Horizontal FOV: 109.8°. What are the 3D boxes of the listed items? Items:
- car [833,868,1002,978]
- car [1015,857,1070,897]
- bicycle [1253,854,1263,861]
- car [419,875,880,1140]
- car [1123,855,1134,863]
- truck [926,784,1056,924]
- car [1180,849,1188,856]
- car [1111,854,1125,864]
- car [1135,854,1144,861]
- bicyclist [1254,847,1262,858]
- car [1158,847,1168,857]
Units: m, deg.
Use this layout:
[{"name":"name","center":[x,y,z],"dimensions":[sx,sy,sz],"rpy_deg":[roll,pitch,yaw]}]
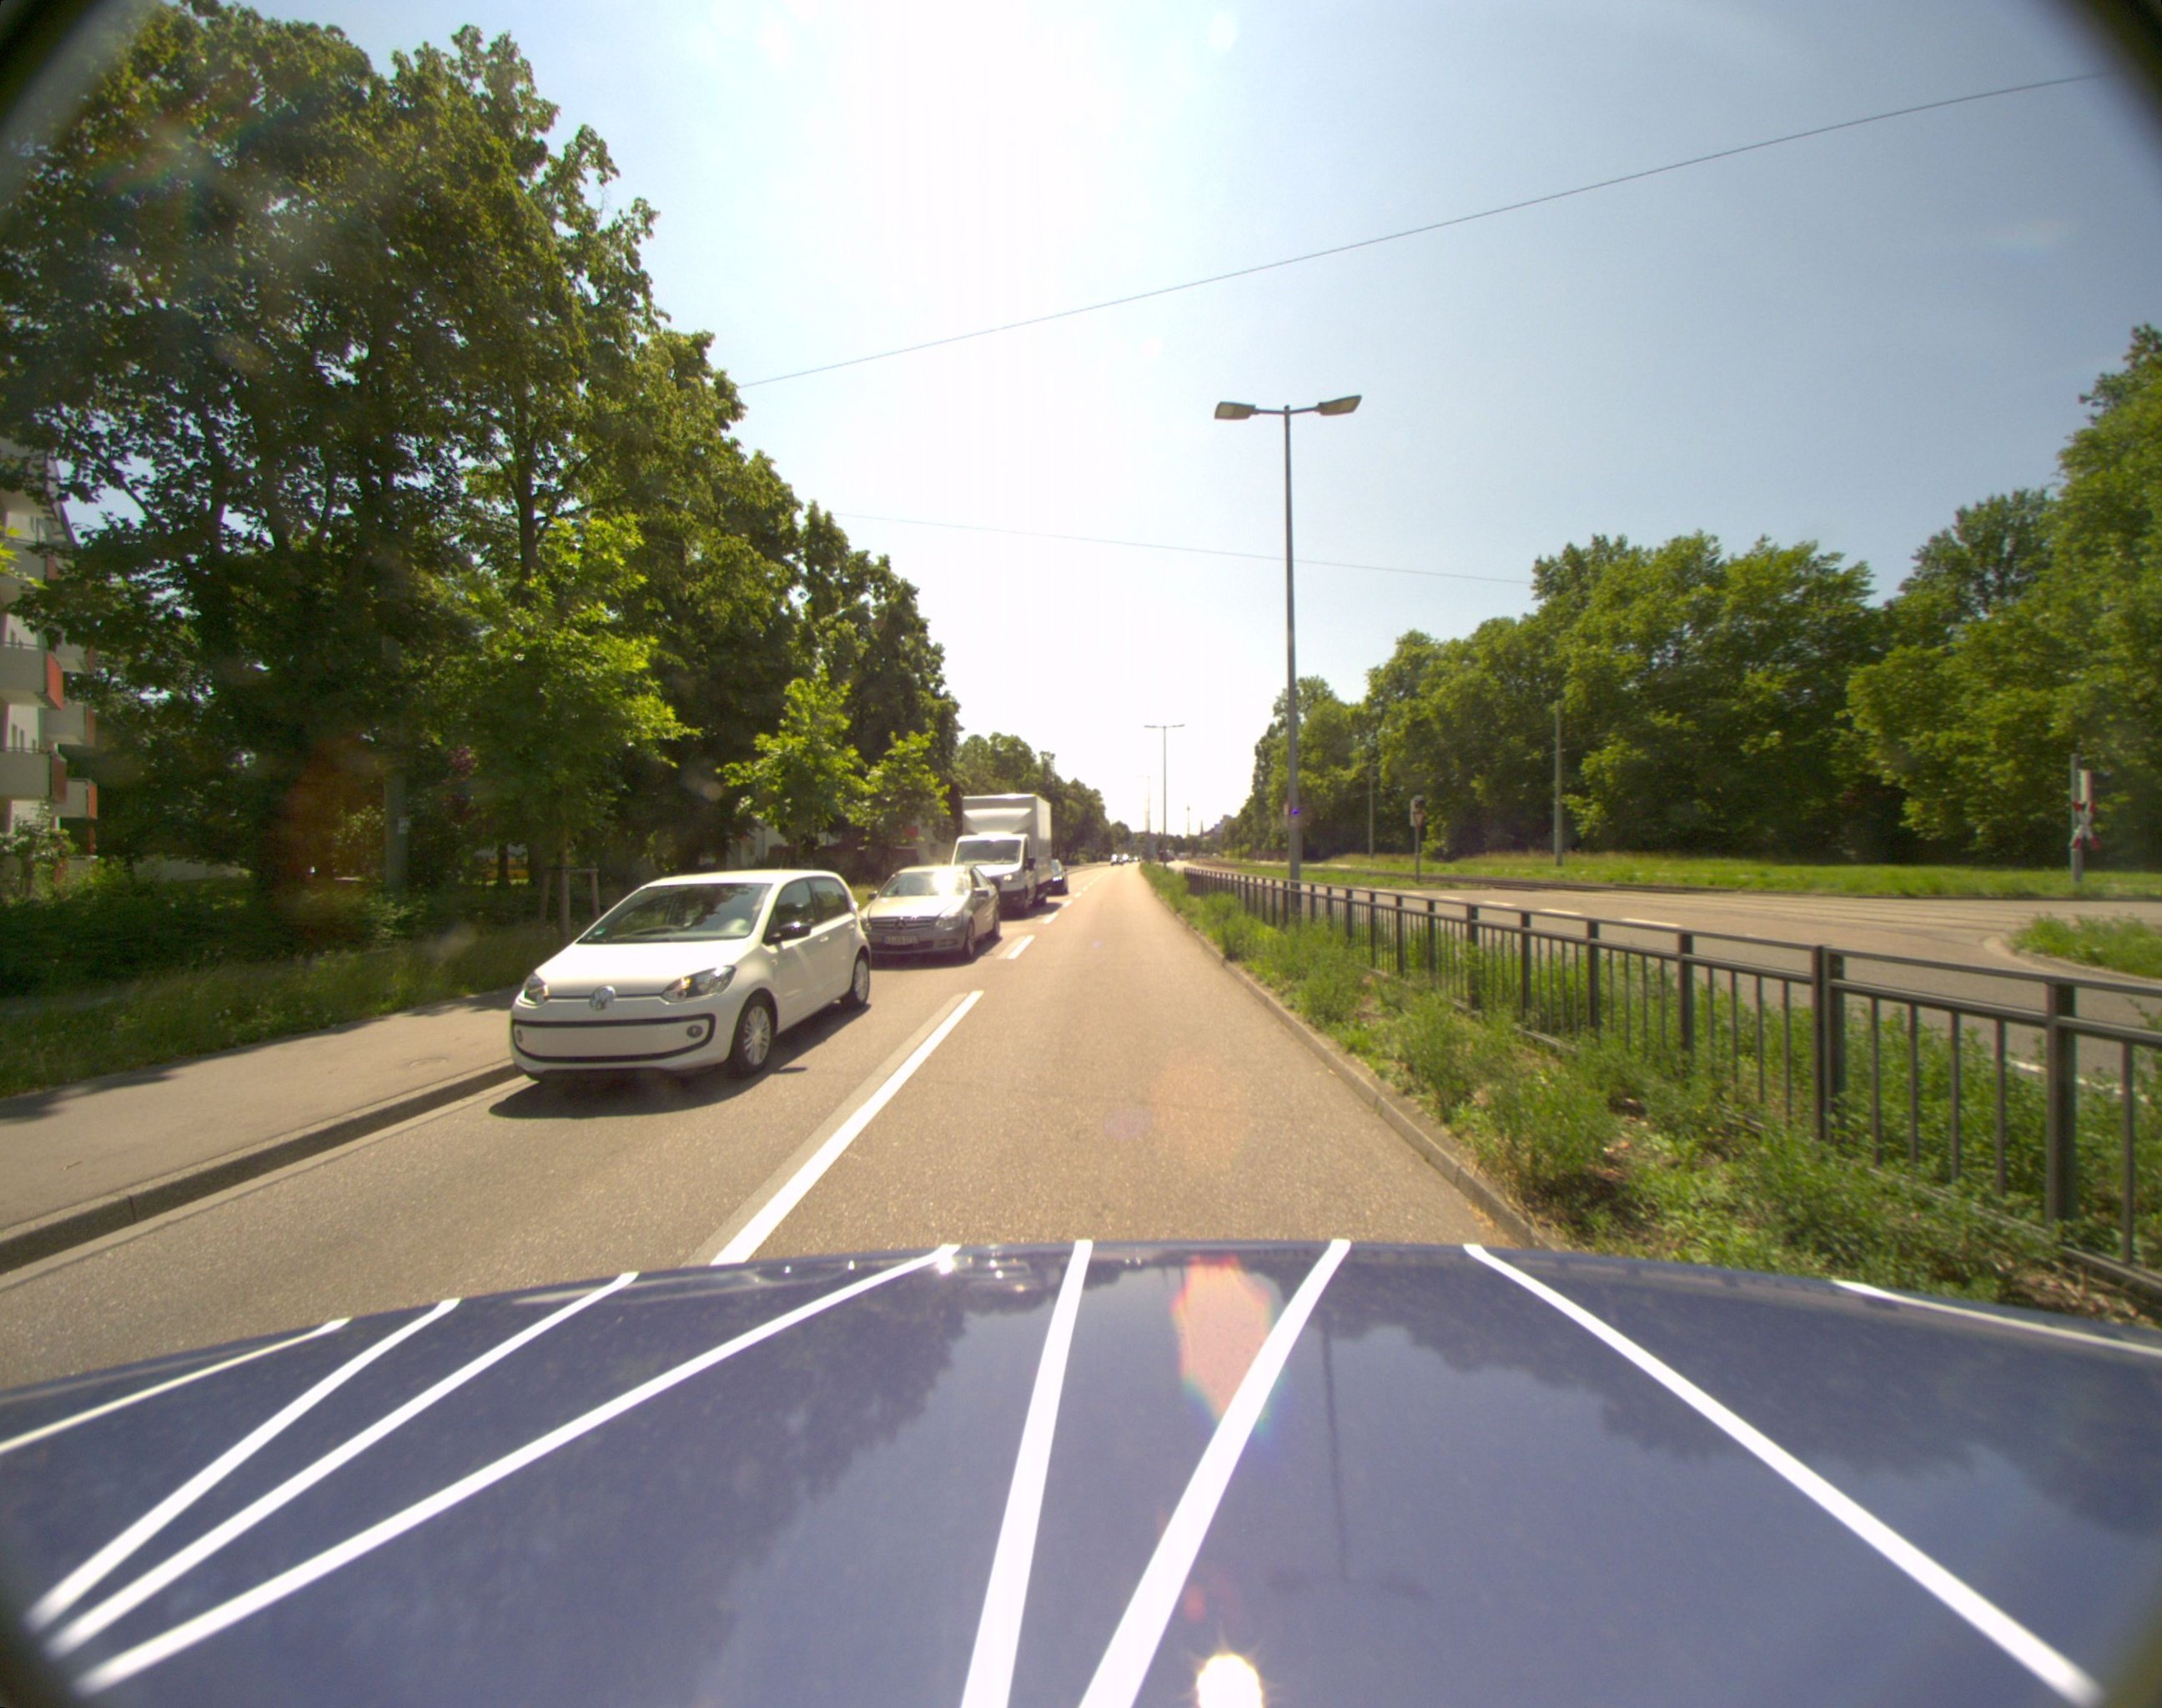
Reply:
[{"name":"car","center":[-2.470,0.986,12.532],"dimensions":[1.840,1.400,4.087],"rpy_deg":[-1,0,1]},{"name":"car","center":[-1.511,0.915,31.532],"dimensions":[1.998,1.499,4.000],"rpy_deg":[-1,0,1]},{"name":"bicycle","center":[27.995,0.532,120.294],"dimensions":[0.862,1.155,2.787],"rpy_deg":[-1,0,1]},{"name":"car","center":[-3.122,0.988,6.511],"dimensions":[1.730,1.470,3.771],"rpy_deg":[-1,0,1]},{"name":"car","center":[9.983,1.016,158.858],"dimensions":[1.997,1.499,4.002],"rpy_deg":[-1,0,7]},{"name":"truck","center":[-2.293,-0.007,22.271],"dimensions":[2.433,3.326,7.923],"rpy_deg":[-1,0,3]},{"name":"car","center":[27.295,-0.338,200.878],"dimensions":[1.998,1.847,4.001],"rpy_deg":[-1,0,5]},{"name":"car","center":[5.830,0.783,119.885],"dimensions":[1.997,1.499,4.002],"rpy_deg":[-1,0,7]},{"name":"car","center":[14.424,0.859,188.246],"dimensions":[1.997,1.499,4.002],"rpy_deg":[-1,0,7]},{"name":"bicyclist","center":[28.006,-0.242,120.228],"dimensions":[0.862,1.796,1.118],"rpy_deg":[-1,1,1]},{"name":"car","center":[16.577,-0.372,154.027],"dimensions":[1.997,1.847,4.002],"rpy_deg":[-1,0,7]}]
